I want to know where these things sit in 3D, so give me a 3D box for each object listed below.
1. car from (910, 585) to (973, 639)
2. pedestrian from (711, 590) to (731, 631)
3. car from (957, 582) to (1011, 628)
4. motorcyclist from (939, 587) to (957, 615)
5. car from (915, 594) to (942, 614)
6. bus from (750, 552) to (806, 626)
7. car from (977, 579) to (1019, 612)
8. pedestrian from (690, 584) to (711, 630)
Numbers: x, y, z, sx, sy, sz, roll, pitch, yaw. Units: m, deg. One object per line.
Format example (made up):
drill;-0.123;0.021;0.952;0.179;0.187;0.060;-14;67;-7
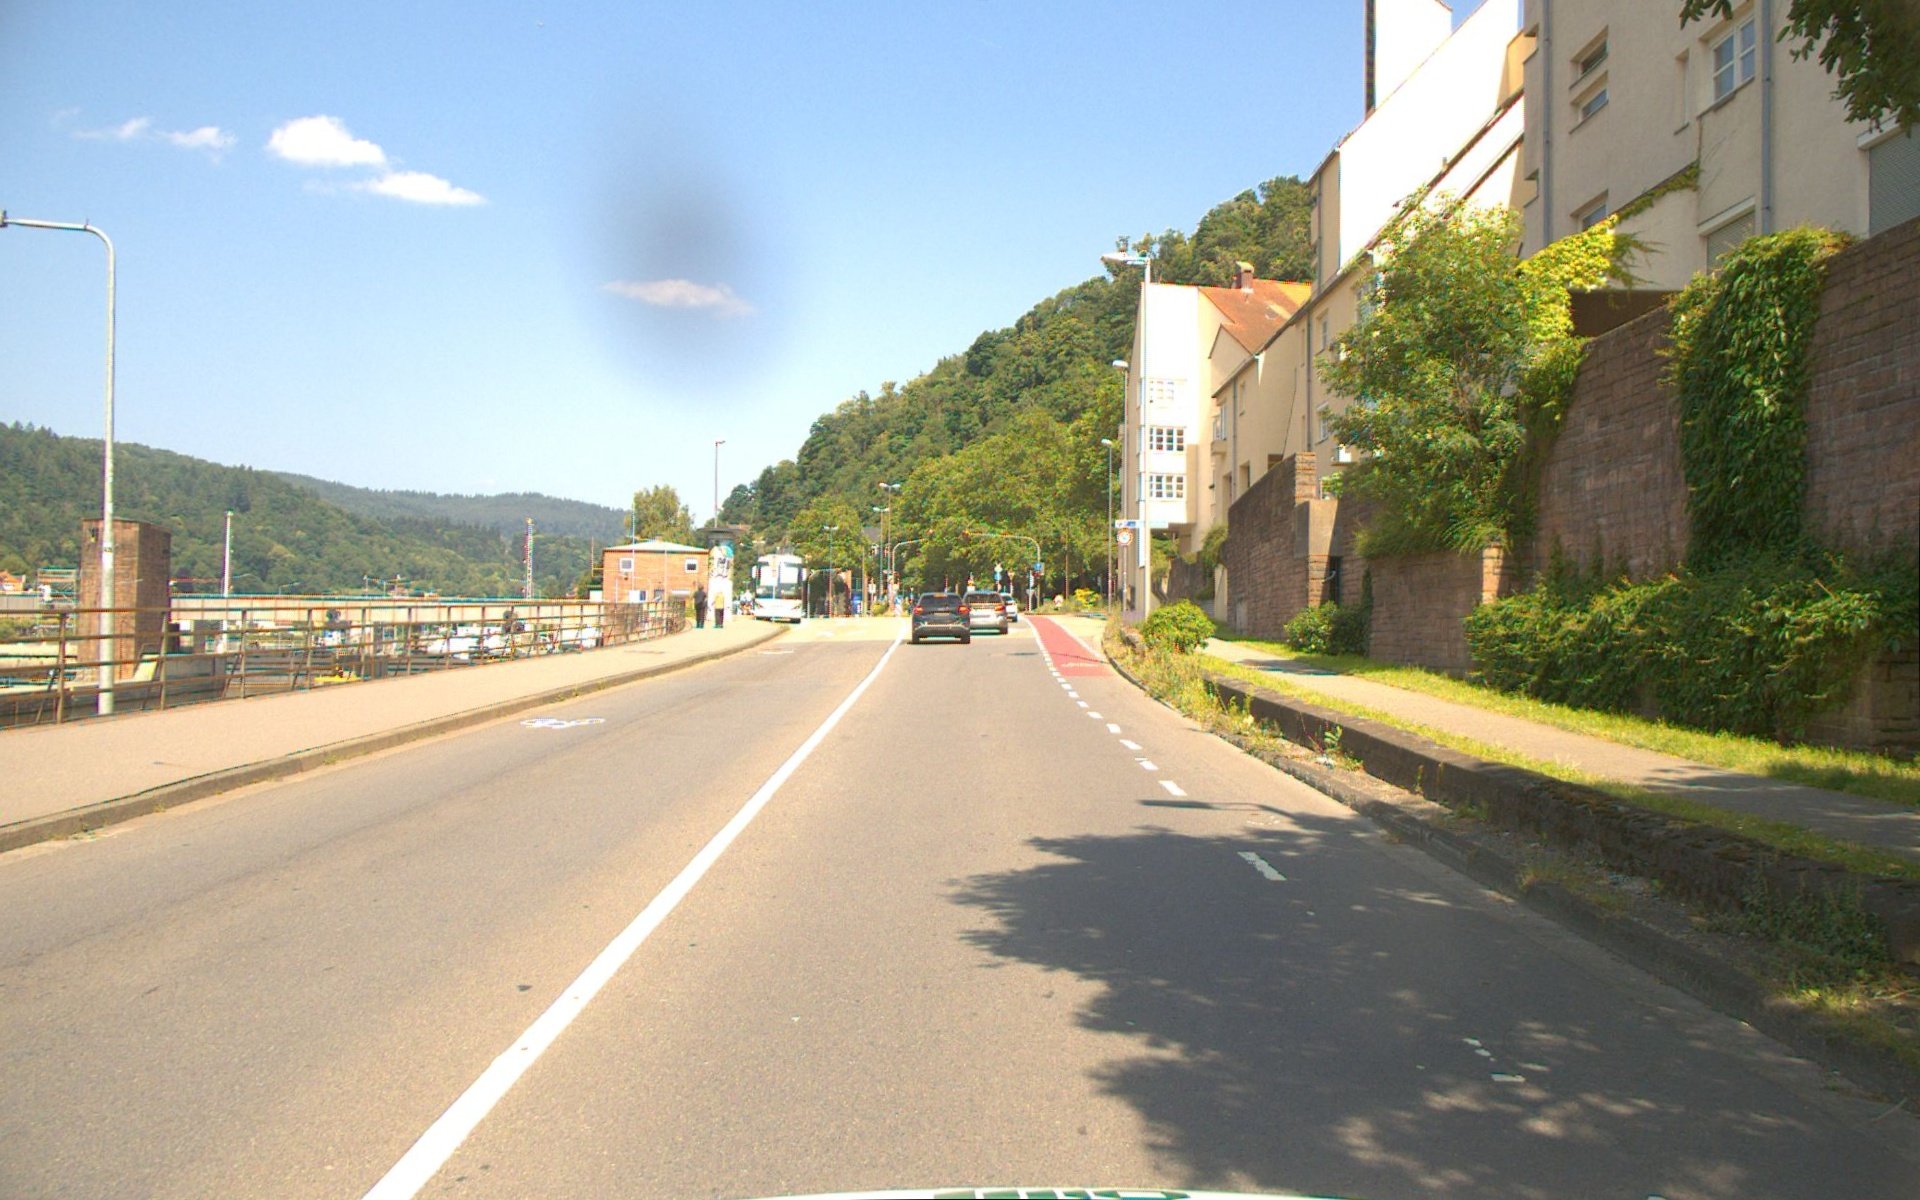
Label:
car;-0.549;0.363;50.221;1.831;1.540;4.150;1;0;0
pedestrian;-9.493;0.419;65.777;0.688;1.649;0.816;0;-1;-3
car;0.832;0.193;59.842;1.850;1.548;4.305;1;0;0
motorcyclist;-0.760;0.064;105.442;1.054;1.714;1.156;-1;0;-1
car;-2.287;0.301;119.535;1.829;1.382;3.998;-1;0;-3
bus;-10.223;-0.541;93.986;2.899;3.867;13.228;0;0;-5
car;1.890;-0.215;82.818;1.953;1.560;4.858;1;0;0
pedestrian;-9.989;0.268;63.688;0.669;1.739;0.773;0;-1;-1
